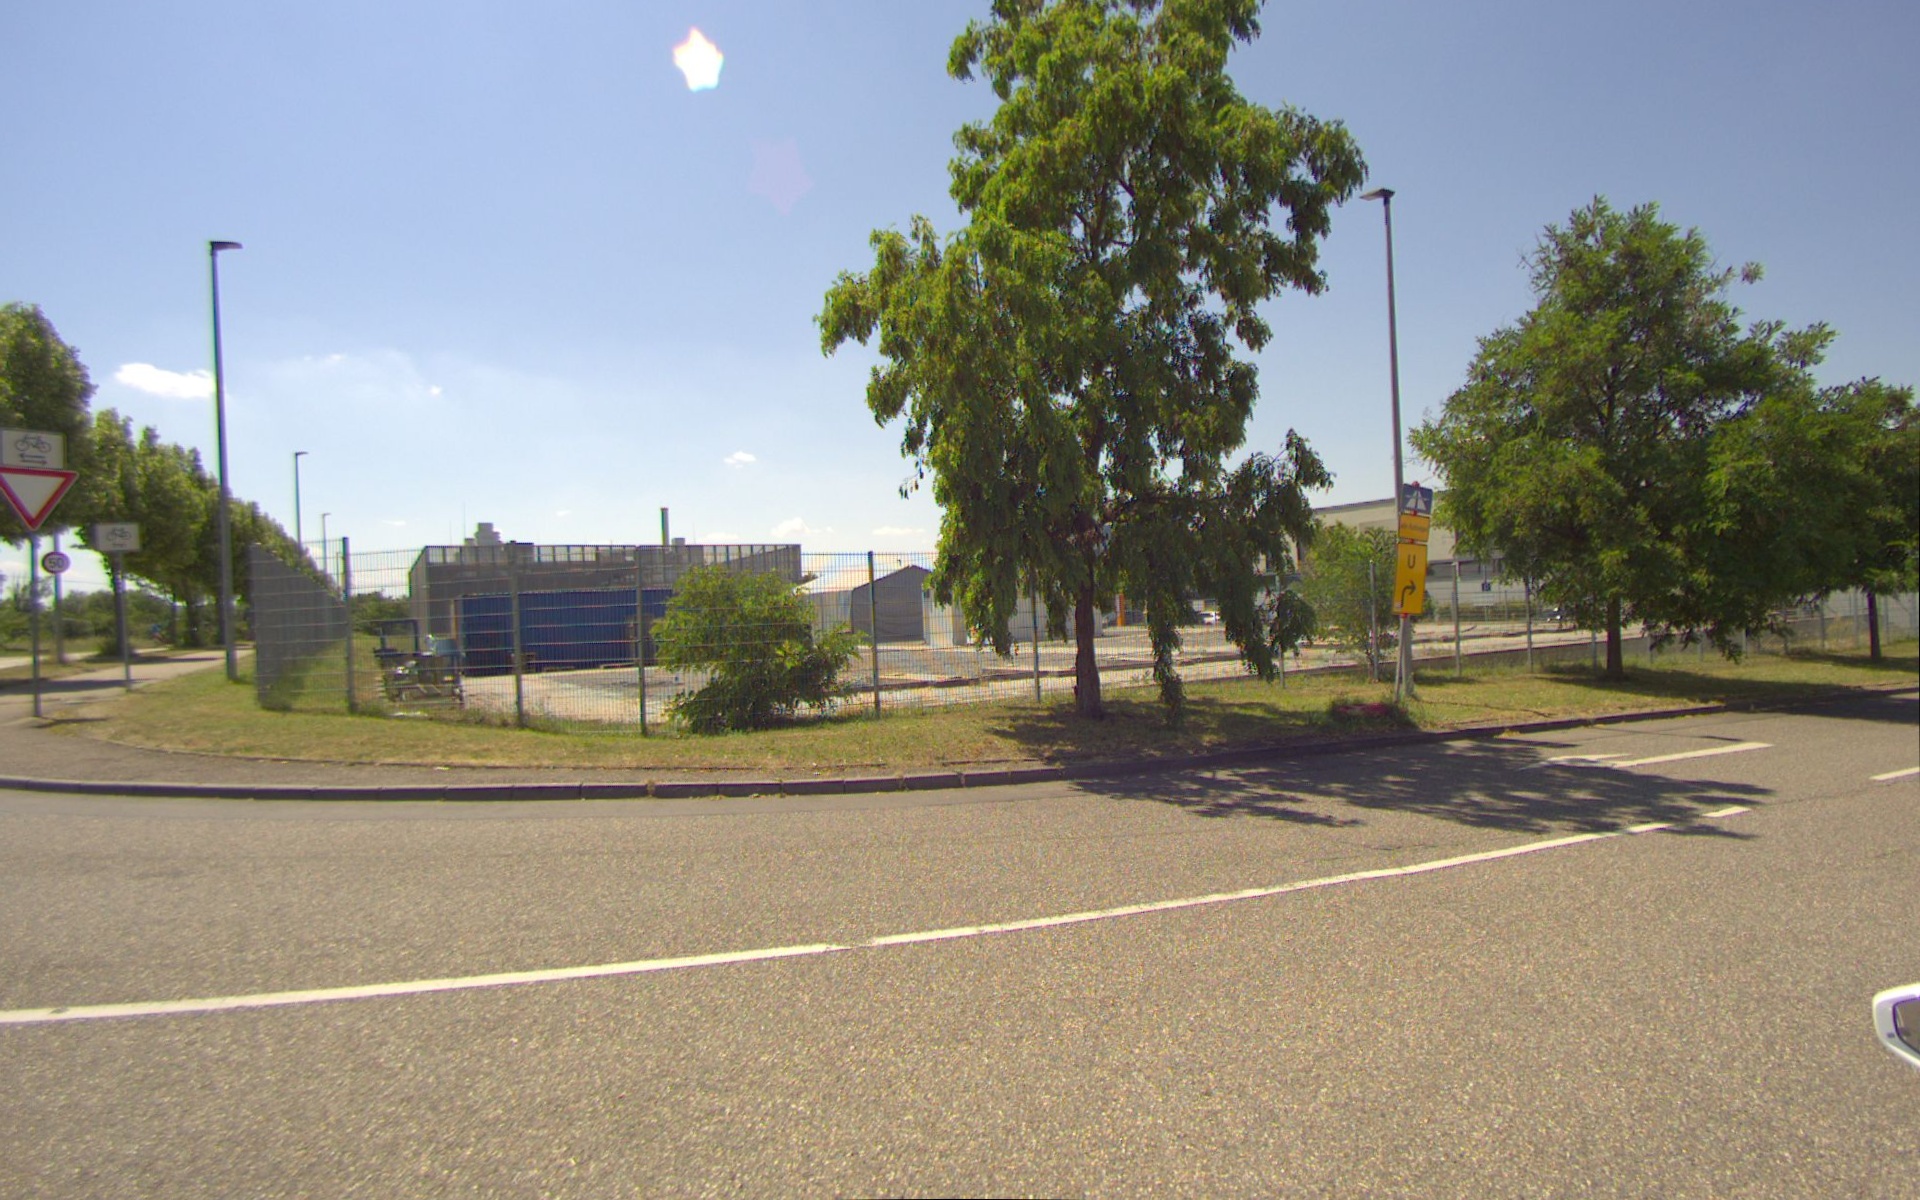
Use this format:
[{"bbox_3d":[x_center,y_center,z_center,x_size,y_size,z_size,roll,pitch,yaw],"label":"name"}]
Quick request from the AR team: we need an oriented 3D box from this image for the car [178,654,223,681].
[{"bbox_3d":[-53.461,4.719,70.778,1.848,1.656,4.563,-3,0,-30],"label":"car"}]
